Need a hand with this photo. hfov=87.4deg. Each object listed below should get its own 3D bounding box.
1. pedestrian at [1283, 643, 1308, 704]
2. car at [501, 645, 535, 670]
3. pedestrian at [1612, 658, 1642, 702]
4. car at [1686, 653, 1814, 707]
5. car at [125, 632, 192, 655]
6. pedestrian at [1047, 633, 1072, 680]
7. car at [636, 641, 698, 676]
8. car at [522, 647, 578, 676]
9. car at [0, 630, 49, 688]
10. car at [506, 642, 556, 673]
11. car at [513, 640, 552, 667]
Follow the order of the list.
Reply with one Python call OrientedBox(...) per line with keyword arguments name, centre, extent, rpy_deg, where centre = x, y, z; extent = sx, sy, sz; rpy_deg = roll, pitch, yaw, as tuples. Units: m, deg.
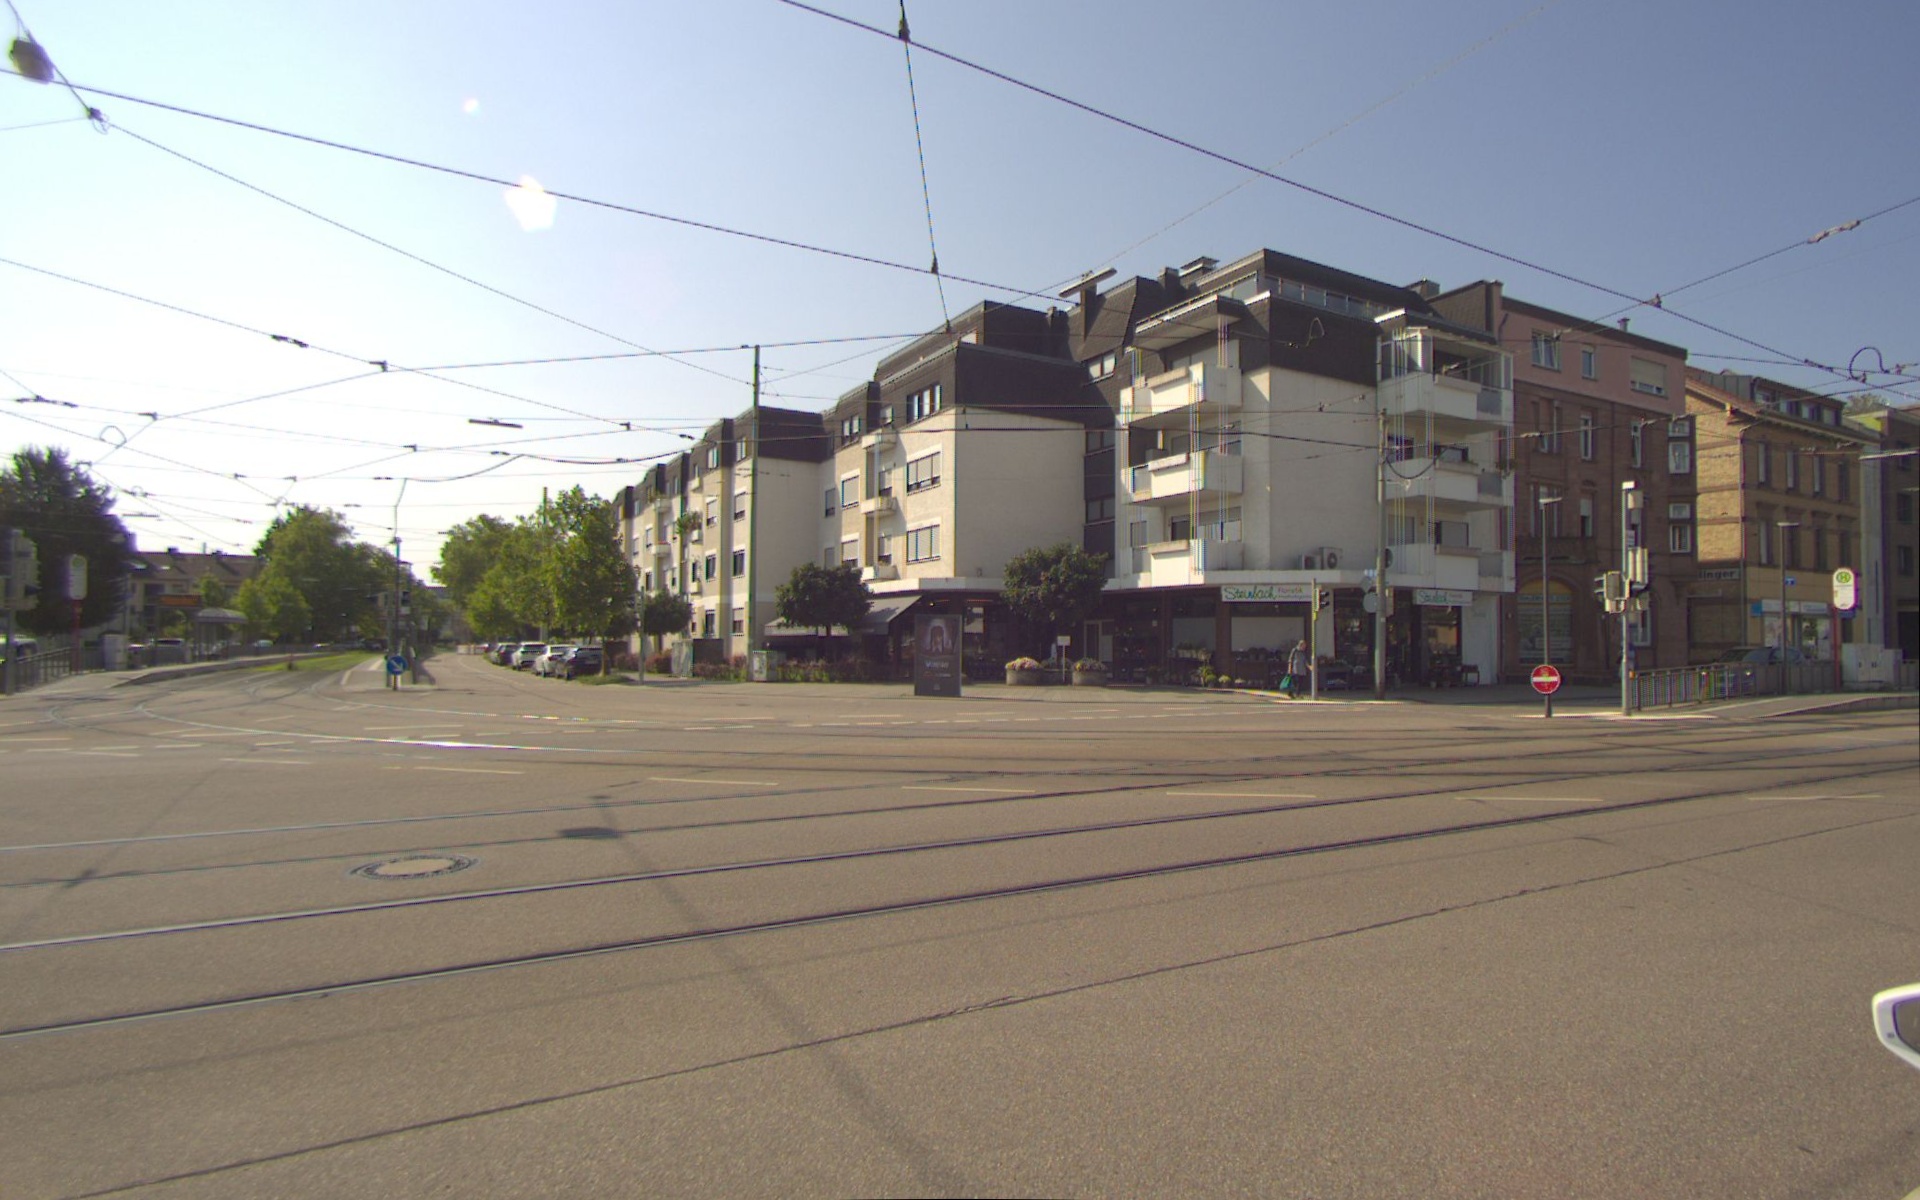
OrientedBox(name="pedestrian", centre=(9.922, 2.173, 29.722), extent=(0.589, 1.767, 0.565), rpy_deg=(-2, -4, 27))
OrientedBox(name="car", centre=(-31.395, 4.133, 71.272), extent=(1.974, 1.674, 3.974), rpy_deg=(2, -5, -27))
OrientedBox(name="pedestrian", centre=(24.551, 2.933, 36.968), extent=(0.873, 1.580, 0.482), rpy_deg=(3, -2, -19))
OrientedBox(name="car", centre=(25.985, 2.605, 33.028), extent=(4.197, 1.676, 1.806), rpy_deg=(2, -4, -29))
OrientedBox(name="car", centre=(-66.182, 3.621, 82.995), extent=(3.953, 1.794, 1.985), rpy_deg=(2, -5, -30))
OrientedBox(name="pedestrian", centre=(3.708, 2.118, 37.523), extent=(0.689, 1.763, 0.677), rpy_deg=(2, -4, -28))
OrientedBox(name="car", centre=(-13.907, 2.752, 47.521), extent=(1.907, 1.527, 4.090), rpy_deg=(2, -2, -30))
OrientedBox(name="car", centre=(-19.480, 2.933, 47.639), extent=(1.655, 1.316, 4.086), rpy_deg=(3, -5, -33))
OrientedBox(name="car", centre=(-33.234, 1.987, 34.539), extent=(1.800, 1.911, 3.999), rpy_deg=(2, -2, -27))
OrientedBox(name="car", centre=(-22.530, 3.066, 52.654), extent=(1.848, 1.554, 4.351), rpy_deg=(2, -5, -30))
OrientedBox(name="car", centre=(-25.056, 3.153, 58.811), extent=(1.653, 1.500, 3.889), rpy_deg=(2, -5, -30))
